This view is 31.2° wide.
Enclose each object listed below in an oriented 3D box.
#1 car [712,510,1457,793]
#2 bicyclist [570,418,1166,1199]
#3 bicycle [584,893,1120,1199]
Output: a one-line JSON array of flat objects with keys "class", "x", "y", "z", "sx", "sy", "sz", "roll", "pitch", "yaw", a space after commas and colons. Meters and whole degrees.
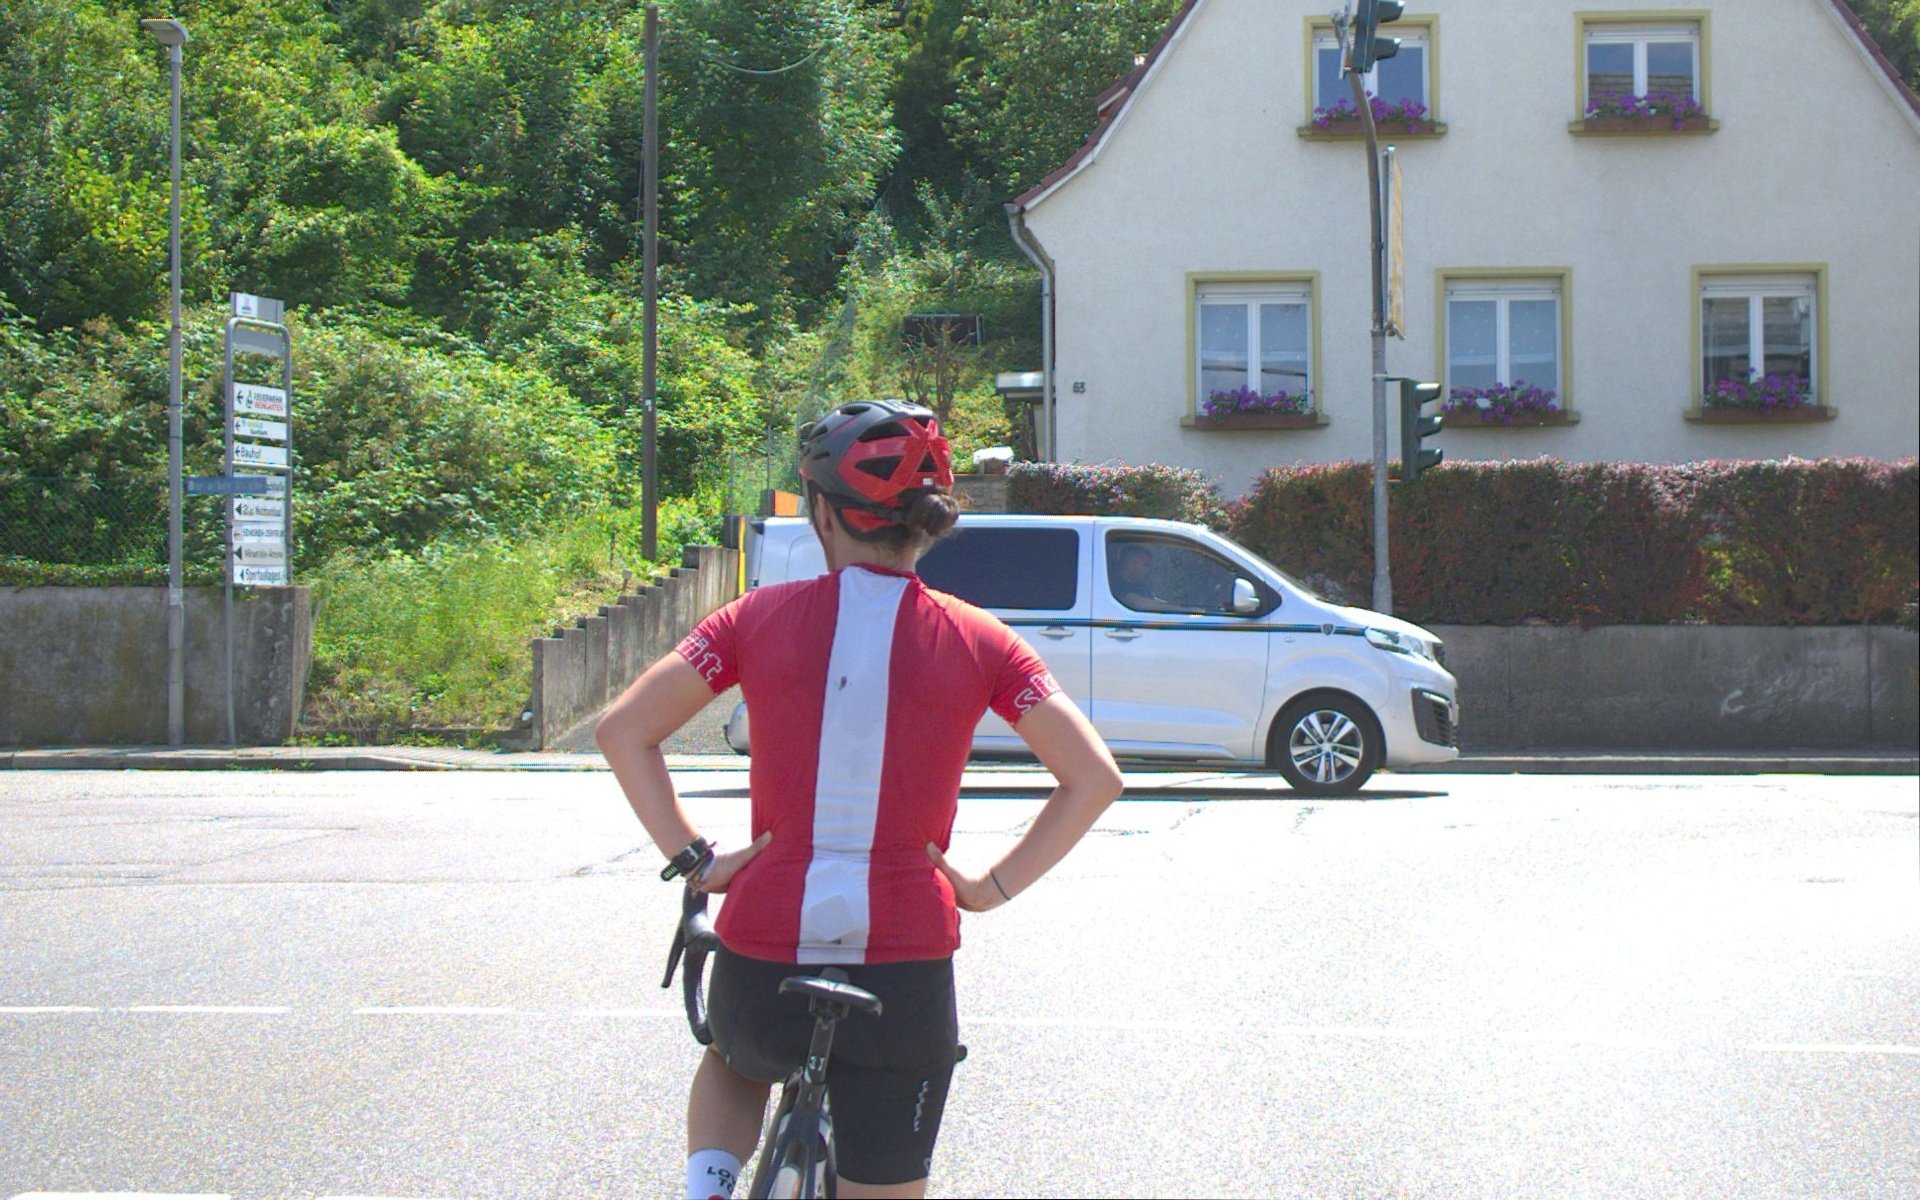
[{"class": "car", "x": 0.920, "y": 0.348, "z": 23.463, "sx": 4.875, "sy": 1.816, "sz": 1.999, "roll": 0, "pitch": -1, "yaw": 9}, {"class": "bicyclist", "x": -0.162, "y": 0.594, "z": 4.938, "sx": 0.760, "sy": 1.659, "sz": 0.869, "roll": 1, "pitch": 1, "yaw": -5}, {"class": "bicycle", "x": -0.203, "y": 0.954, "z": 4.885, "sx": 0.629, "sy": 0.902, "sz": 1.657, "roll": 1, "pitch": 1, "yaw": -5}]
